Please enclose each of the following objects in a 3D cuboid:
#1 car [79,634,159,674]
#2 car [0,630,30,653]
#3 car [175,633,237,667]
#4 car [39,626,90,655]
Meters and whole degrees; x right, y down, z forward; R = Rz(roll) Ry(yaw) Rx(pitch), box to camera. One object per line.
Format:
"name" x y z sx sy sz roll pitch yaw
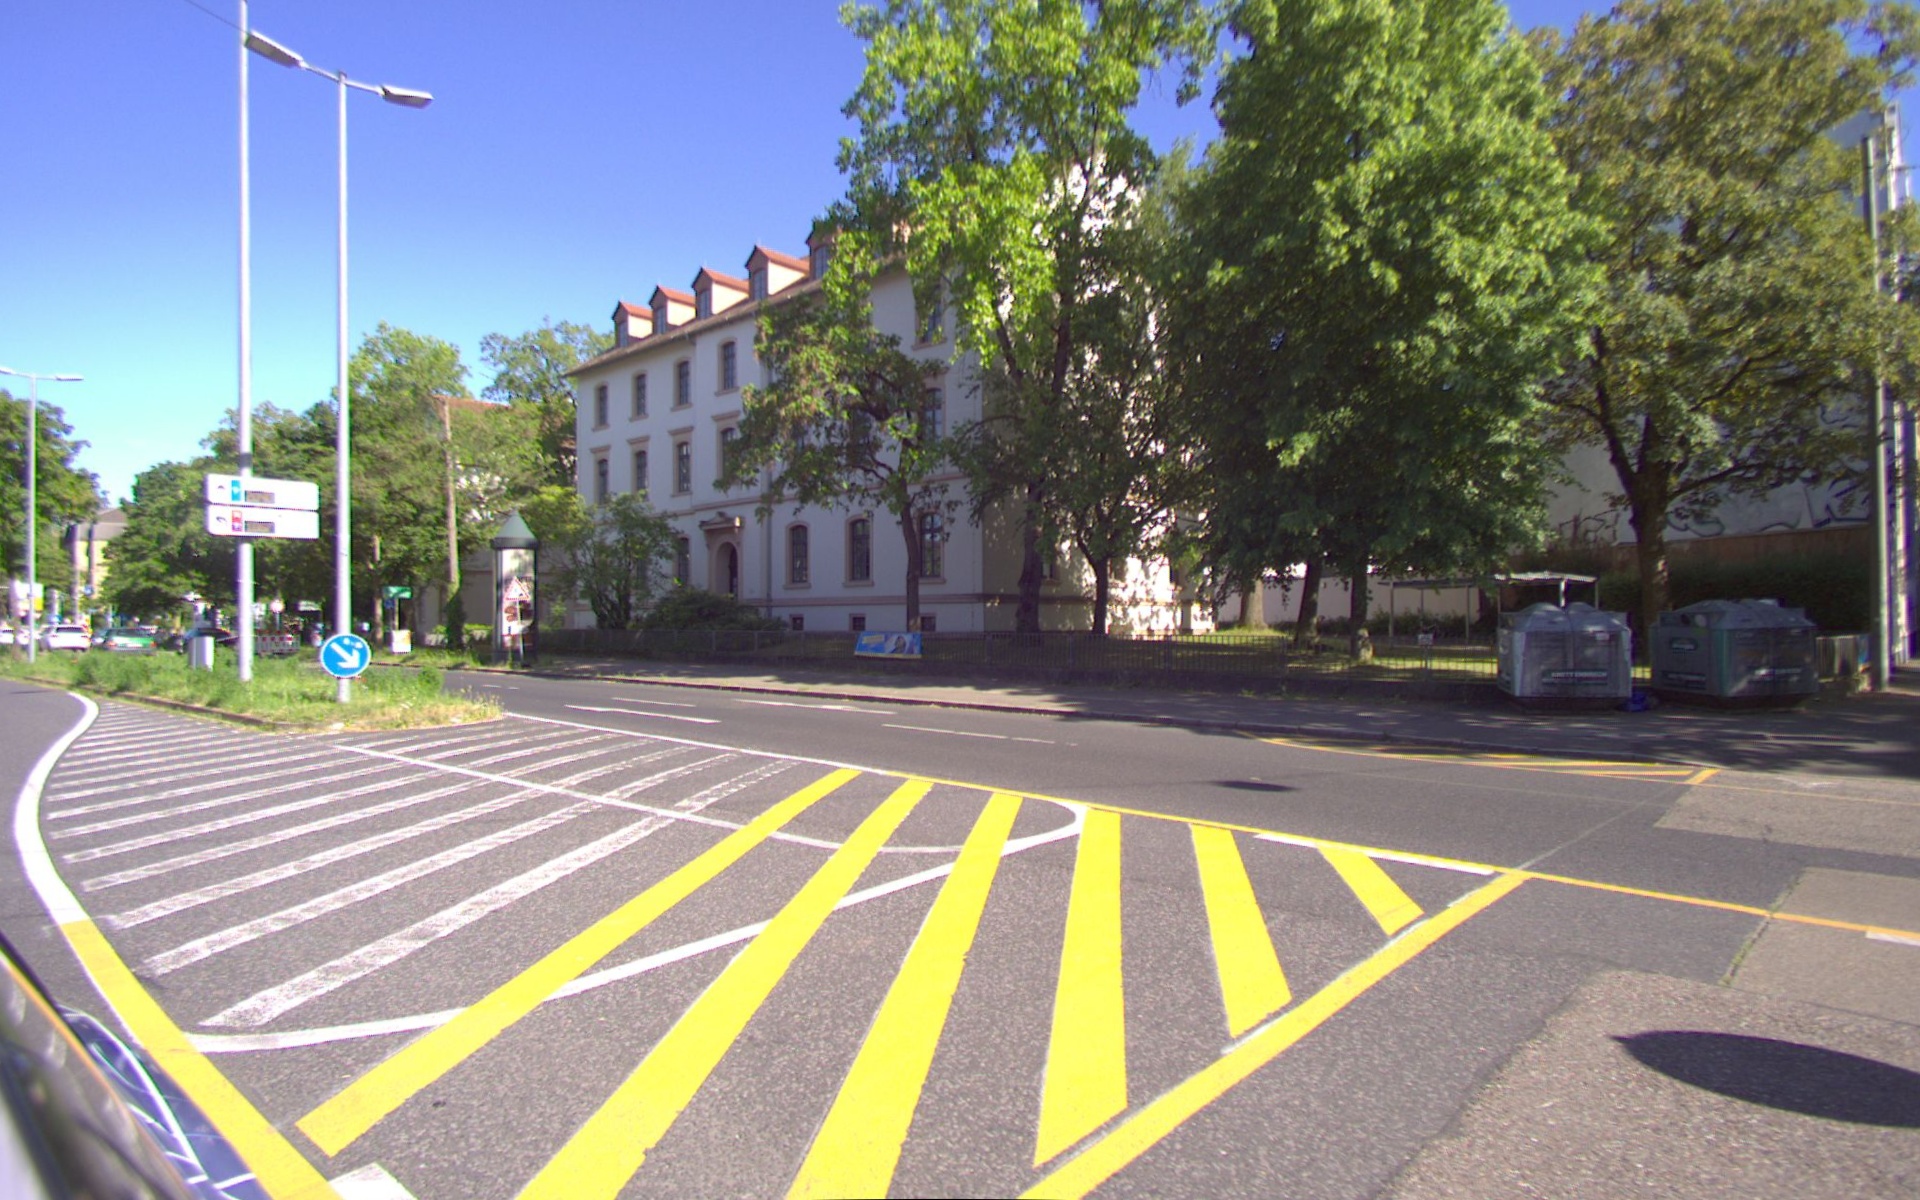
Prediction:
"car" -33.679 2.119 40.486 4.253 1.530 1.622 -2 -2 39
"car" -66.660 2.906 70.773 4.663 1.530 1.820 -2 -2 41
"car" -37.451 2.432 50.208 4.424 1.530 1.776 -1 -1 44
"car" -52.892 2.354 59.733 4.538 1.638 1.879 -2 -3 44
